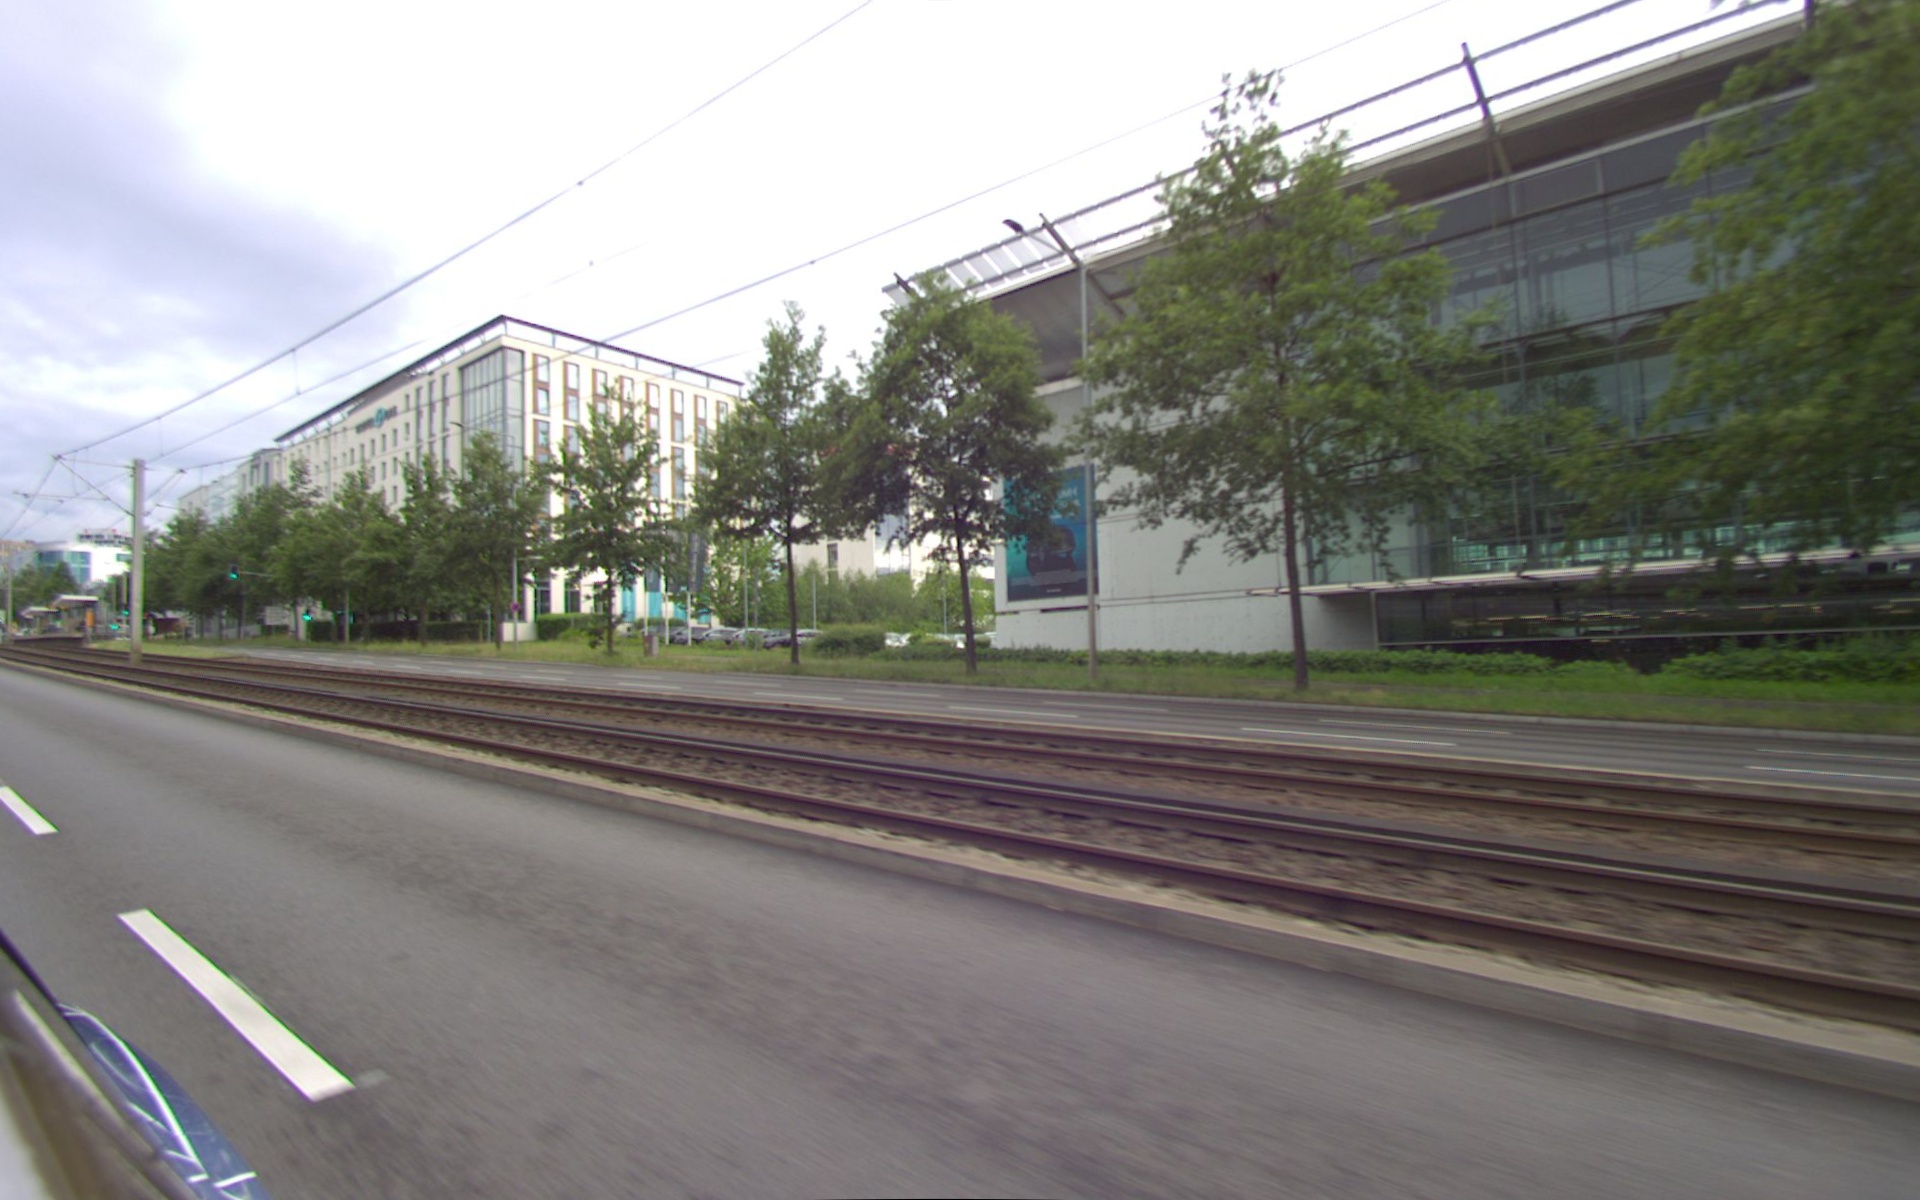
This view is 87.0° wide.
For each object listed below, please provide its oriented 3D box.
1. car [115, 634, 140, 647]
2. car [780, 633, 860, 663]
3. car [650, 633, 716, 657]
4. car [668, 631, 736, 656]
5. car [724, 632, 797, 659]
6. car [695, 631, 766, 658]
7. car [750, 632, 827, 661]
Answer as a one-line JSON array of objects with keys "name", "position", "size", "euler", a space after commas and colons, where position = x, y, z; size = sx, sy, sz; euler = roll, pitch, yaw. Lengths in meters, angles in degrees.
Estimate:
[{"name": "car", "position": [-93.085, 4.560, 113.193], "size": [3.818, 1.375, 1.678], "euler": [-2, -5, 44]}, {"name": "car", "position": [-7.653, 2.580, 55.204], "size": [3.931, 1.401, 1.809], "euler": [-1, 0, -26]}, {"name": "car", "position": [-18.079, 2.908, 65.972], "size": [3.931, 1.401, 1.809], "euler": [-1, 0, -22]}, {"name": "car", "position": [-16.177, 2.716, 63.473], "size": [3.931, 1.401, 1.809], "euler": [-1, 0, -22]}, {"name": "car", "position": [-11.717, 2.644, 59.395], "size": [3.931, 1.401, 1.809], "euler": [-1, 0, -22]}, {"name": "car", "position": [-13.970, 2.680, 61.515], "size": [3.931, 1.401, 1.770], "euler": [-1, 0, -22]}, {"name": "car", "position": [-9.686, 2.612, 57.081], "size": [3.931, 1.401, 1.809], "euler": [-1, 0, -22]}]
